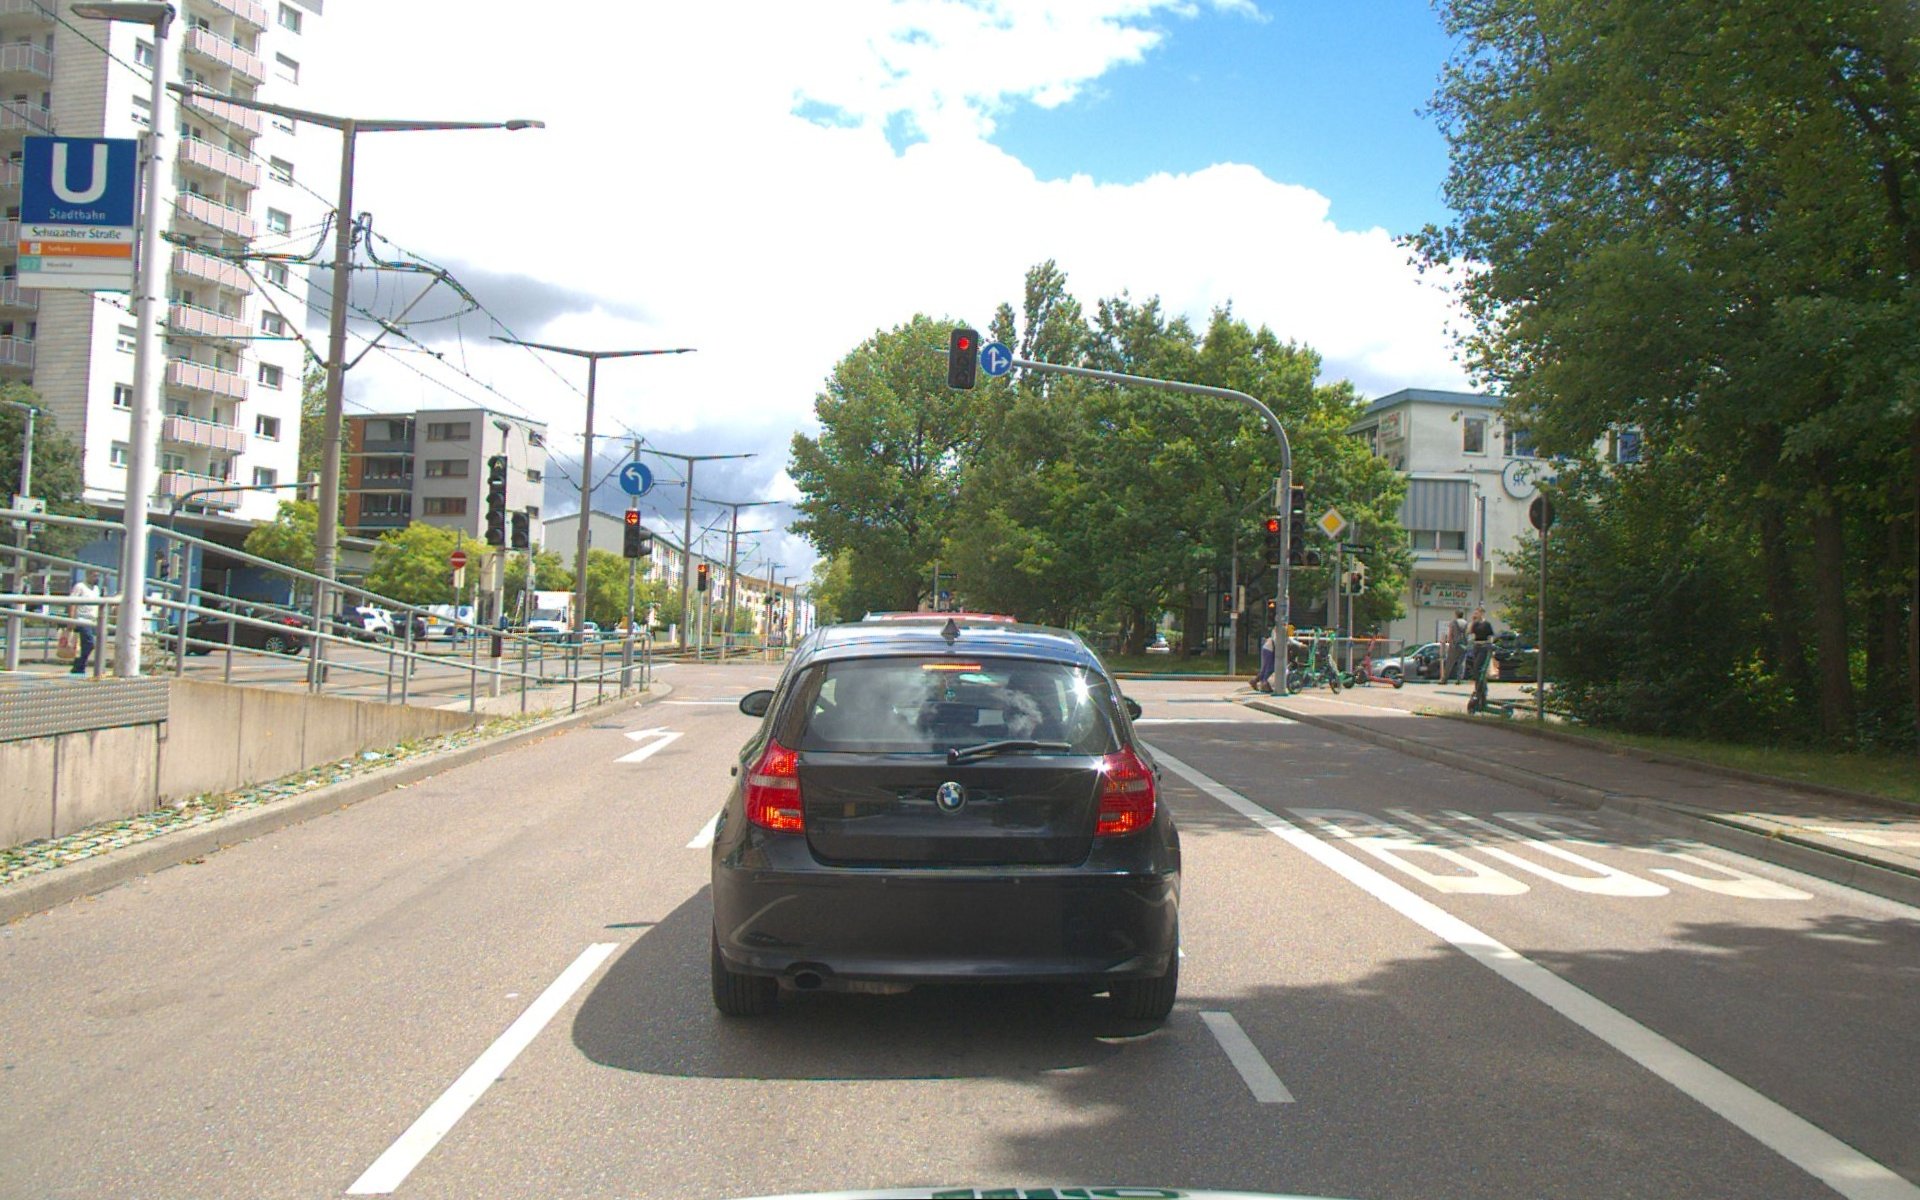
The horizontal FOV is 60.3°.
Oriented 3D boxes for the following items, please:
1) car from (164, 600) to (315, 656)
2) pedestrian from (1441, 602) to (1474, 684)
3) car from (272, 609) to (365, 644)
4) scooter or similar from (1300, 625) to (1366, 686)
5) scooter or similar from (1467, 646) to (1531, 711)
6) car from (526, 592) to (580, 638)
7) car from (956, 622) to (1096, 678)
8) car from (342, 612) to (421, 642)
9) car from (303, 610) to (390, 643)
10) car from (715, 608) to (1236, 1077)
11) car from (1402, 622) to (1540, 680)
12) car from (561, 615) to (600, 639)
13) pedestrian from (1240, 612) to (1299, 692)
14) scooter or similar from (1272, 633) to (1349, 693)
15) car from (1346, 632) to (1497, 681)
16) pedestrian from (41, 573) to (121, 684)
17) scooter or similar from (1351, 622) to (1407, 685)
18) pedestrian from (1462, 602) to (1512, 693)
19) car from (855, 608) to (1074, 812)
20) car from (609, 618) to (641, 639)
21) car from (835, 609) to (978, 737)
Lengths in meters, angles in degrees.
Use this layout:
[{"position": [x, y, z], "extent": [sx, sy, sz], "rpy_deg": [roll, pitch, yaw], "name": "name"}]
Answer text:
[{"position": [-20.101, 0.782, 46.277], "extent": [3.537, 1.488, 1.613], "rpy_deg": [1, 0, -9], "name": "car"}, {"position": [11.468, 0.987, 38.119], "extent": [0.600, 1.821, 0.569], "rpy_deg": [4, -1, 18], "name": "pedestrian"}, {"position": [-28.389, 1.163, 73.277], "extent": [3.537, 1.488, 1.613], "rpy_deg": [1, 0, -9], "name": "car"}, {"position": [7.510, 1.109, 33.283], "extent": [1.267, 1.210, 0.383], "rpy_deg": [1, -1, -17], "name": "scooter or similar"}, {"position": [9.440, 1.370, 28.948], "extent": [1.133, 1.118, 0.329], "rpy_deg": [1, -1, -25], "name": "scooter or similar"}, {"position": [-24.736, 0.886, 100.607], "extent": [2.096, 2.686, 5.356], "rpy_deg": [1, 0, -2], "name": "car"}, {"position": [1.949, 1.480, 49.254], "extent": [3.913, 1.553, 1.672], "rpy_deg": [1, 0, -9], "name": "car"}, {"position": [-29.564, 1.387, 84.637], "extent": [3.537, 1.488, 1.613], "rpy_deg": [1, 0, -9], "name": "car"}, {"position": [-28.768, 1.244, 77.660], "extent": [3.537, 1.488, 1.613], "rpy_deg": [1, 0, -9], "name": "car"}, {"position": [0.080, 0.769, 6.967], "extent": [1.620, 1.443, 3.517], "rpy_deg": [1, 0, 1], "name": "car"}, {"position": [15.016, 1.482, 48.634], "extent": [3.515, 1.629, 1.706], "rpy_deg": [1, -1, -13], "name": "car"}, {"position": [-25.933, 1.831, 113.151], "extent": [1.927, 1.624, 3.997], "rpy_deg": [1, 0, -3], "name": "car"}, {"position": [5.830, 0.967, 31.116], "extent": [0.850, 1.468, 0.796], "rpy_deg": [0, -1, 34], "name": "pedestrian"}, {"position": [6.556, 1.160, 30.905], "extent": [1.769, 1.069, 0.404], "rpy_deg": [1, 0, -40], "name": "scooter or similar"}, {"position": [14.444, 1.766, 51.802], "extent": [4.243, 1.419, 1.709], "rpy_deg": [1, 0, -9], "name": "car"}, {"position": [-13.892, 0.445, 26.157], "extent": [0.839, 1.726, 0.690], "rpy_deg": [1, -1, 14], "name": "pedestrian"}, {"position": [8.643, 1.102, 34.151], "extent": [1.087, 1.280, 0.331], "rpy_deg": [1, -1, -13], "name": "scooter or similar"}, {"position": [10.993, 0.991, 34.500], "extent": [0.747, 1.821, 0.566], "rpy_deg": [4, -1, 36], "name": "pedestrian"}, {"position": [0.035, 0.806, 13.704], "extent": [1.562, 1.443, 3.516], "rpy_deg": [1, 0, 0], "name": "car"}, {"position": [-27.012, 2.262, 133.509], "extent": [1.927, 1.624, 3.998], "rpy_deg": [1, 0, -3], "name": "car"}, {"position": [-0.685, 0.848, 20.815], "extent": [1.621, 1.443, 3.515], "rpy_deg": [1, 0, -2], "name": "car"}]
